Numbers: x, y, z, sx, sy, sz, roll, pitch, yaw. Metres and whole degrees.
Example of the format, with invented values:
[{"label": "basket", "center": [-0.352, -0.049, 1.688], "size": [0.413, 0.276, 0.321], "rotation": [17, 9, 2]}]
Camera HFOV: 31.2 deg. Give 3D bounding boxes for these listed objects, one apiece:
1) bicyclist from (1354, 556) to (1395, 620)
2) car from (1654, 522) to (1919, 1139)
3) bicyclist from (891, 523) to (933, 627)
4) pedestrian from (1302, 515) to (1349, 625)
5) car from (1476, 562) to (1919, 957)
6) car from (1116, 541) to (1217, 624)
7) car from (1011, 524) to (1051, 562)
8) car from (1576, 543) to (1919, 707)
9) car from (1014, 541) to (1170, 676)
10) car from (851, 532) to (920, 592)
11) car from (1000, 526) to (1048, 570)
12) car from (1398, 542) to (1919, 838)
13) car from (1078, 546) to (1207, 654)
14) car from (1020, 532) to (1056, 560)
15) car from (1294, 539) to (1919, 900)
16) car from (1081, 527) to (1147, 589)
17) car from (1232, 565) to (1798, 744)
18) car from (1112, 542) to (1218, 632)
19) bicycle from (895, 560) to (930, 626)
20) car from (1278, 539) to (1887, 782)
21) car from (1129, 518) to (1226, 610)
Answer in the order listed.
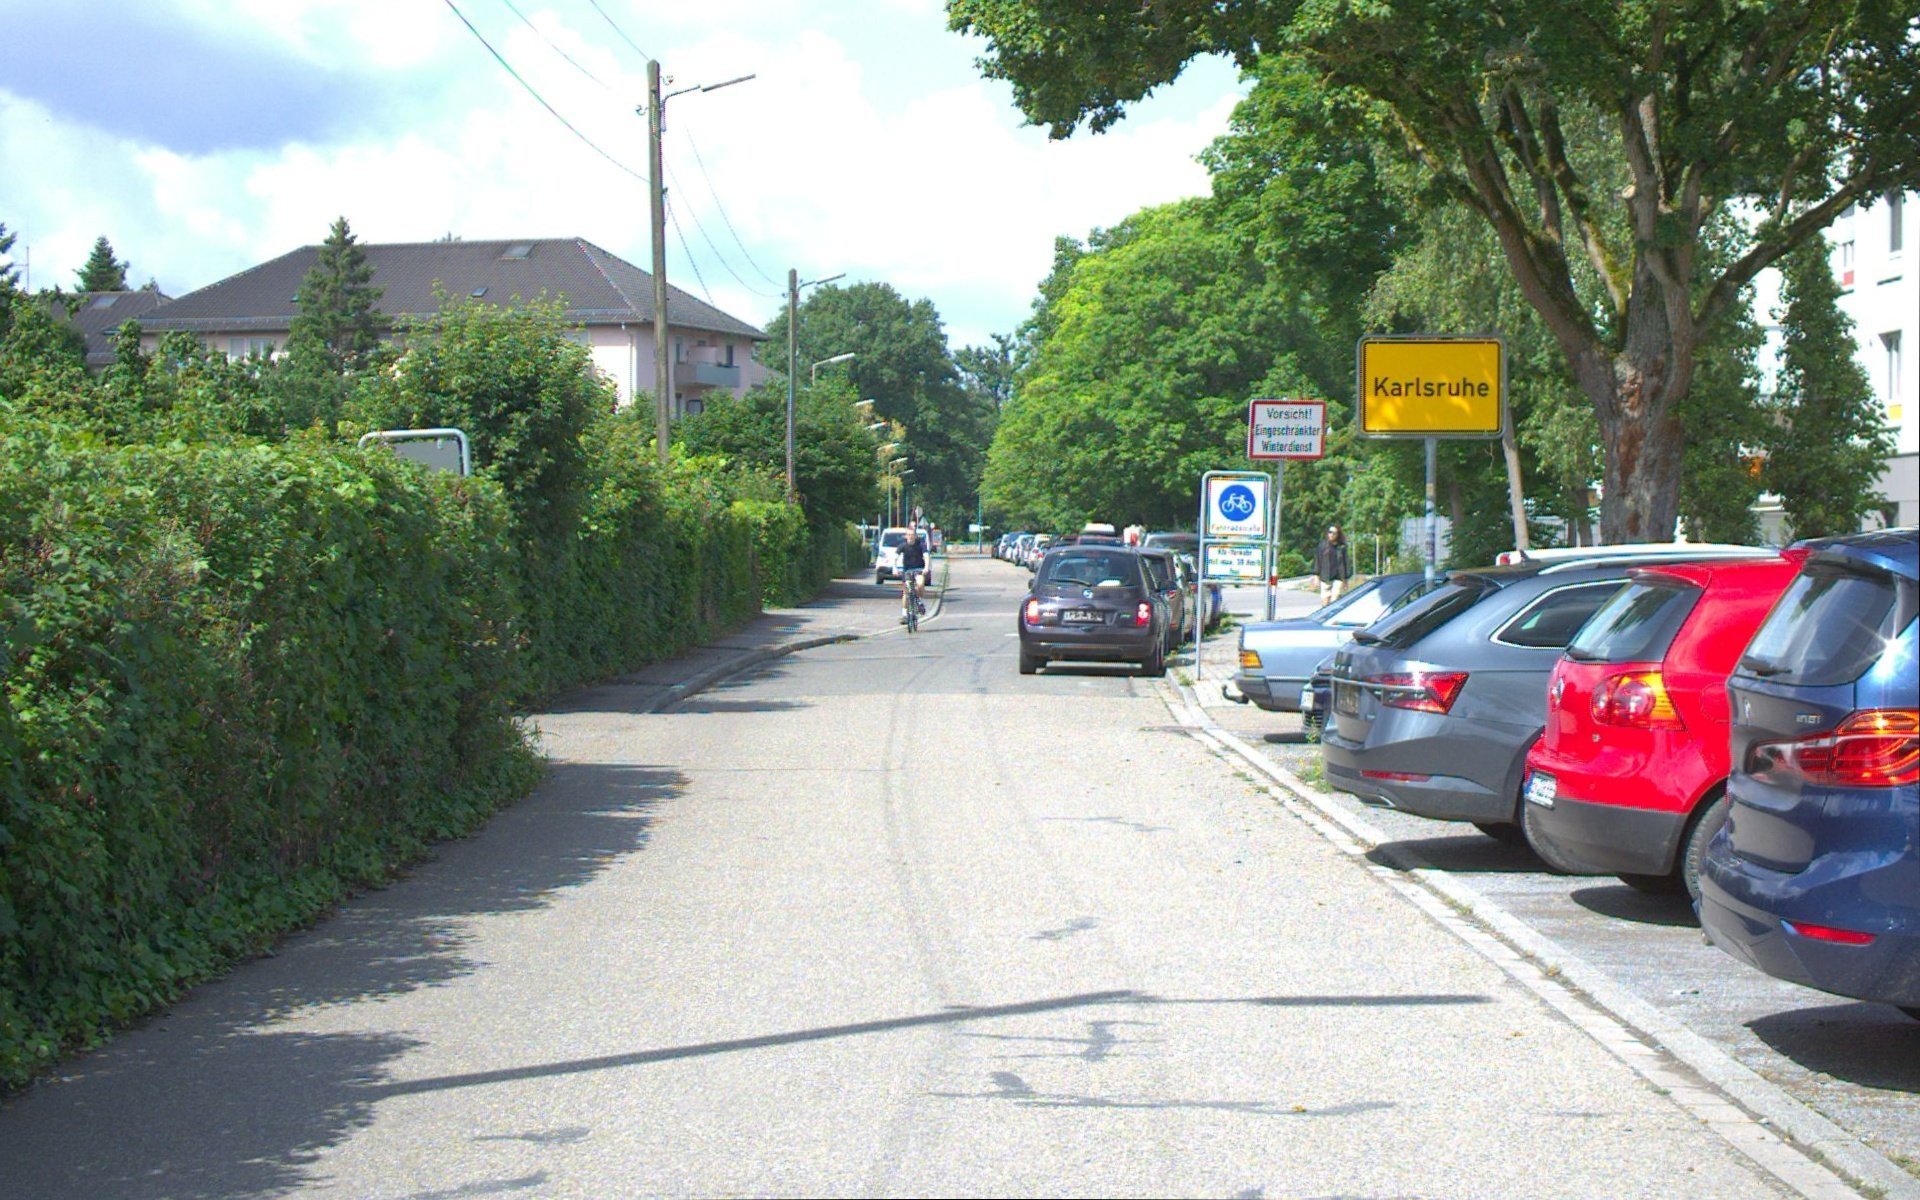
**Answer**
[{"label": "bicyclist", "center": [11.759, -0.349, 97.533], "size": [0.786, 1.779, 0.892], "rotation": [2, 1, 32]}, {"label": "car", "center": [4.270, 0.595, 9.972], "size": [4.155, 1.632, 1.879], "rotation": [0, 1, 2]}, {"label": "bicyclist", "center": [-0.860, -0.450, 61.794], "size": [0.659, 1.846, 1.043], "rotation": [-1, 1, 2]}, {"label": "pedestrian", "center": [5.890, -0.480, 55.306], "size": [0.610, 1.739, 0.721], "rotation": [2, 1, 14]}, {"label": "car", "center": [4.169, 0.610, 14.227], "size": [3.809, 1.527, 1.762], "rotation": [0, 1, 0]}, {"label": "car", "center": [3.776, -0.338, 63.365], "size": [1.663, 1.430, 3.542], "rotation": [2, 1, 1]}, {"label": "car", "center": [3.889, -3.136, 189.288], "size": [1.993, 2.007, 4.000], "rotation": [2, 1, 0]}, {"label": "car", "center": [8.061, 0.201, 32.175], "size": [4.240, 1.425, 1.759], "rotation": [-1, 1, 0]}, {"label": "car", "center": [1.640, 0.071, 41.554], "size": [1.663, 1.501, 3.999], "rotation": [2, 1, 5]}, {"label": "car", "center": [-2.356, -1.217, 109.870], "size": [1.903, 1.808, 4.000], "rotation": [2, 1, 3]}, {"label": "car", "center": [3.000, -2.428, 159.816], "size": [2.058, 1.955, 4.540], "rotation": [2, 1, 3]}, {"label": "car", "center": [4.442, 0.494, 19.622], "size": [3.573, 1.544, 1.667], "rotation": [2, 1, -3]}, {"label": "car", "center": [2.816, -0.016, 52.549], "size": [1.664, 1.547, 3.636], "rotation": [2, 1, 7]}, {"label": "car", "center": [4.646, -3.209, 204.113], "size": [1.852, 1.612, 3.999], "rotation": [2, 1, 5]}, {"label": "car", "center": [4.016, 0.565, 16.638], "size": [4.548, 1.573, 1.809], "rotation": [2, 1, -1]}, {"label": "car", "center": [5.008, -1.373, 111.724], "size": [2.058, 1.919, 4.540], "rotation": [2, 1, 3]}, {"label": "car", "center": [4.378, 0.420, 27.652], "size": [4.359, 1.387, 1.718], "rotation": [0, 1, 4]}, {"label": "car", "center": [3.517, -0.231, 58.392], "size": [1.663, 1.434, 3.743], "rotation": [2, 1, 5]}, {"label": "bicycle", "center": [-0.854, -0.132, 61.794], "size": [0.518, 1.146, 1.827], "rotation": [-1, 1, 2]}, {"label": "car", "center": [4.364, 0.401, 24.543], "size": [3.933, 1.554, 1.868], "rotation": [2, 1, -1]}, {"label": "car", "center": [4.523, -0.749, 71.035], "size": [1.874, 1.800, 3.432], "rotation": [2, 1, 5]}]
